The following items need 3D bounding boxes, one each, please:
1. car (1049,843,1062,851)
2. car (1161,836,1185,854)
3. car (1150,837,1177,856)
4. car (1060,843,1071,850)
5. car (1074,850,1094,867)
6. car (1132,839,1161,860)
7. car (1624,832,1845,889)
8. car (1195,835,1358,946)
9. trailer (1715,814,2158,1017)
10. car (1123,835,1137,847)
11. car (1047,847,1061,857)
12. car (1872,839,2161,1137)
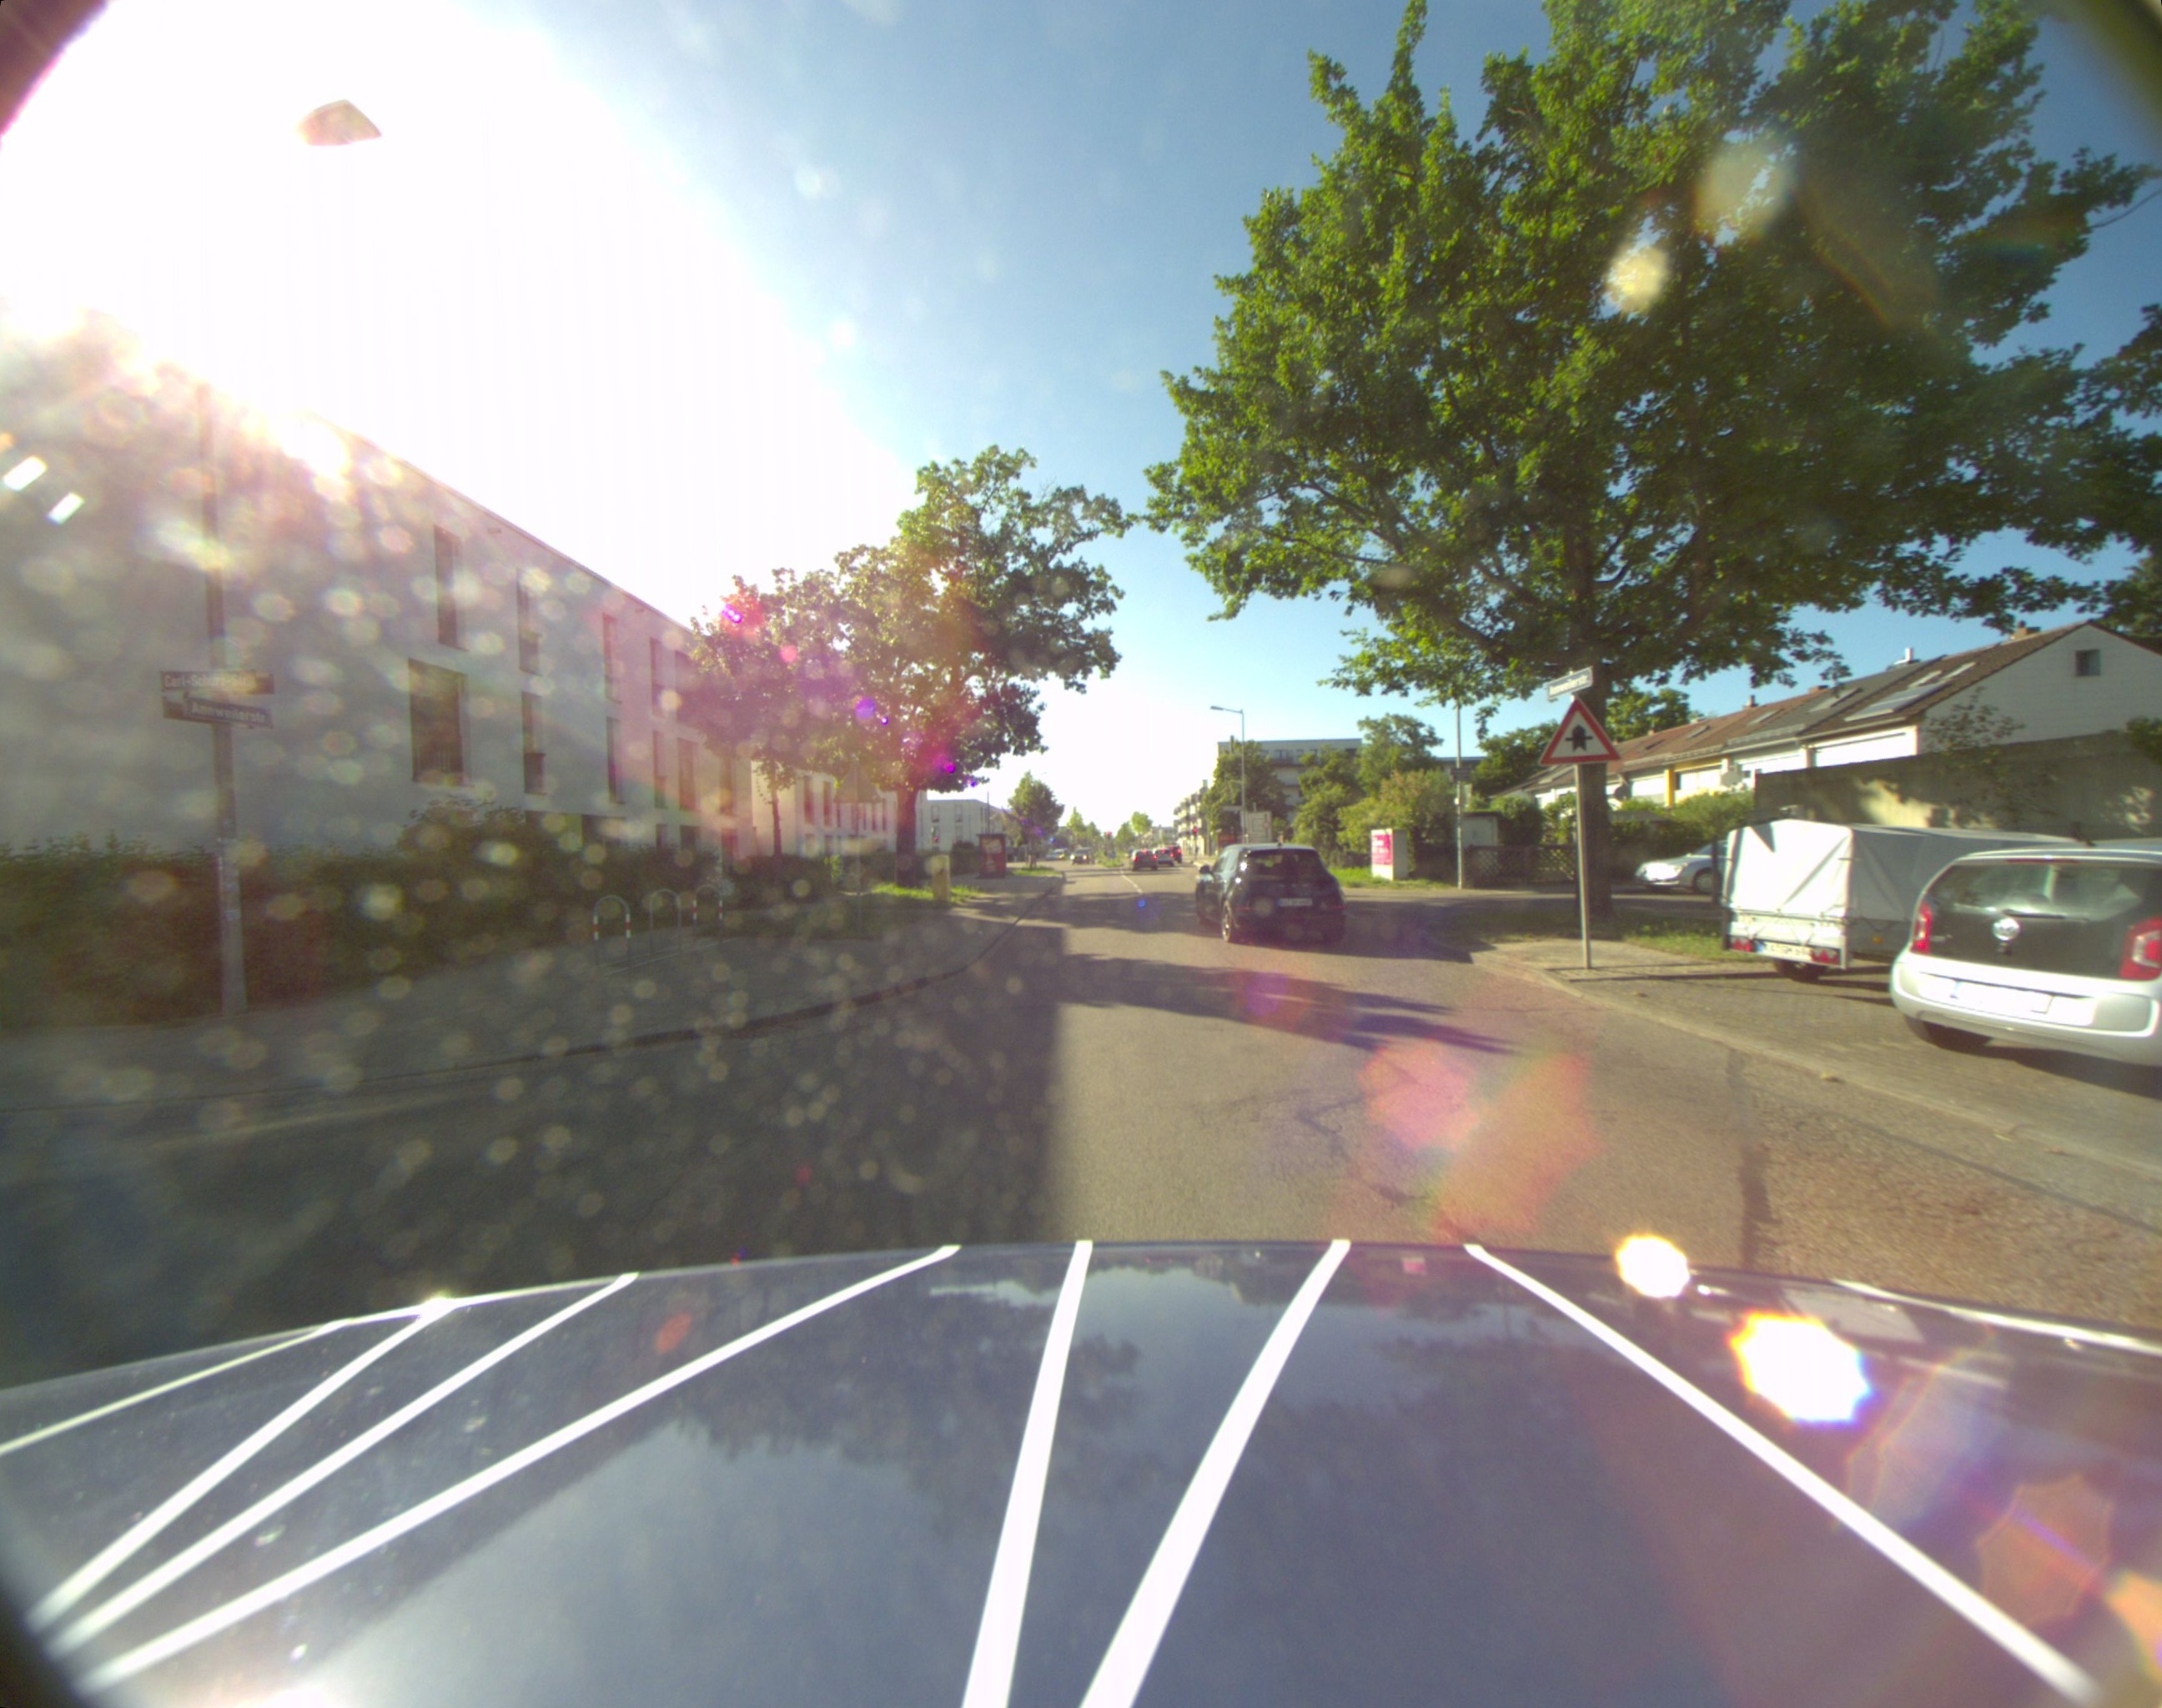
[{"bbox_3d":[-4.444,-1.212,132.260,1.830,1.324,3.677,-1,1,4],"label":"car"},{"bbox_3d":[7.931,-0.819,66.038,1.765,1.470,3.850,-1,1,3],"label":"car"},{"bbox_3d":[6.407,-0.592,59.273,1.765,1.390,3.850,-1,1,3],"label":"car"},{"bbox_3d":[-3.151,-1.549,150.911,1.830,1.324,3.677,-1,1,4],"label":"car"},{"bbox_3d":[0.306,0.436,75.857,1.878,1.470,3.850,-1,2,2],"label":"car"},{"bbox_3d":[4.516,-0.346,52.745,1.765,1.390,4.000,-1,1,3],"label":"car"},{"bbox_3d":[16.911,0.132,19.865,3.995,1.395,1.892,0,2,6],"label":"car"},{"bbox_3d":[3.149,0.485,13.064,1.742,1.532,3.945,1,2,0],"label":"car"},{"bbox_3d":[7.824,0.487,7.102,2.766,1.638,1.298,-2,3,-4],"label":"trailer"},{"bbox_3d":[6.682,-1.797,103.621,1.878,1.470,3.850,-1,2,2],"label":"car"},{"bbox_3d":[-4.339,-0.310,123.222,1.944,1.412,3.999,-1,2,2],"label":"car"},{"bbox_3d":[7.290,0.666,4.588,3.303,1.470,1.615,-2,2,1],"label":"car"}]
